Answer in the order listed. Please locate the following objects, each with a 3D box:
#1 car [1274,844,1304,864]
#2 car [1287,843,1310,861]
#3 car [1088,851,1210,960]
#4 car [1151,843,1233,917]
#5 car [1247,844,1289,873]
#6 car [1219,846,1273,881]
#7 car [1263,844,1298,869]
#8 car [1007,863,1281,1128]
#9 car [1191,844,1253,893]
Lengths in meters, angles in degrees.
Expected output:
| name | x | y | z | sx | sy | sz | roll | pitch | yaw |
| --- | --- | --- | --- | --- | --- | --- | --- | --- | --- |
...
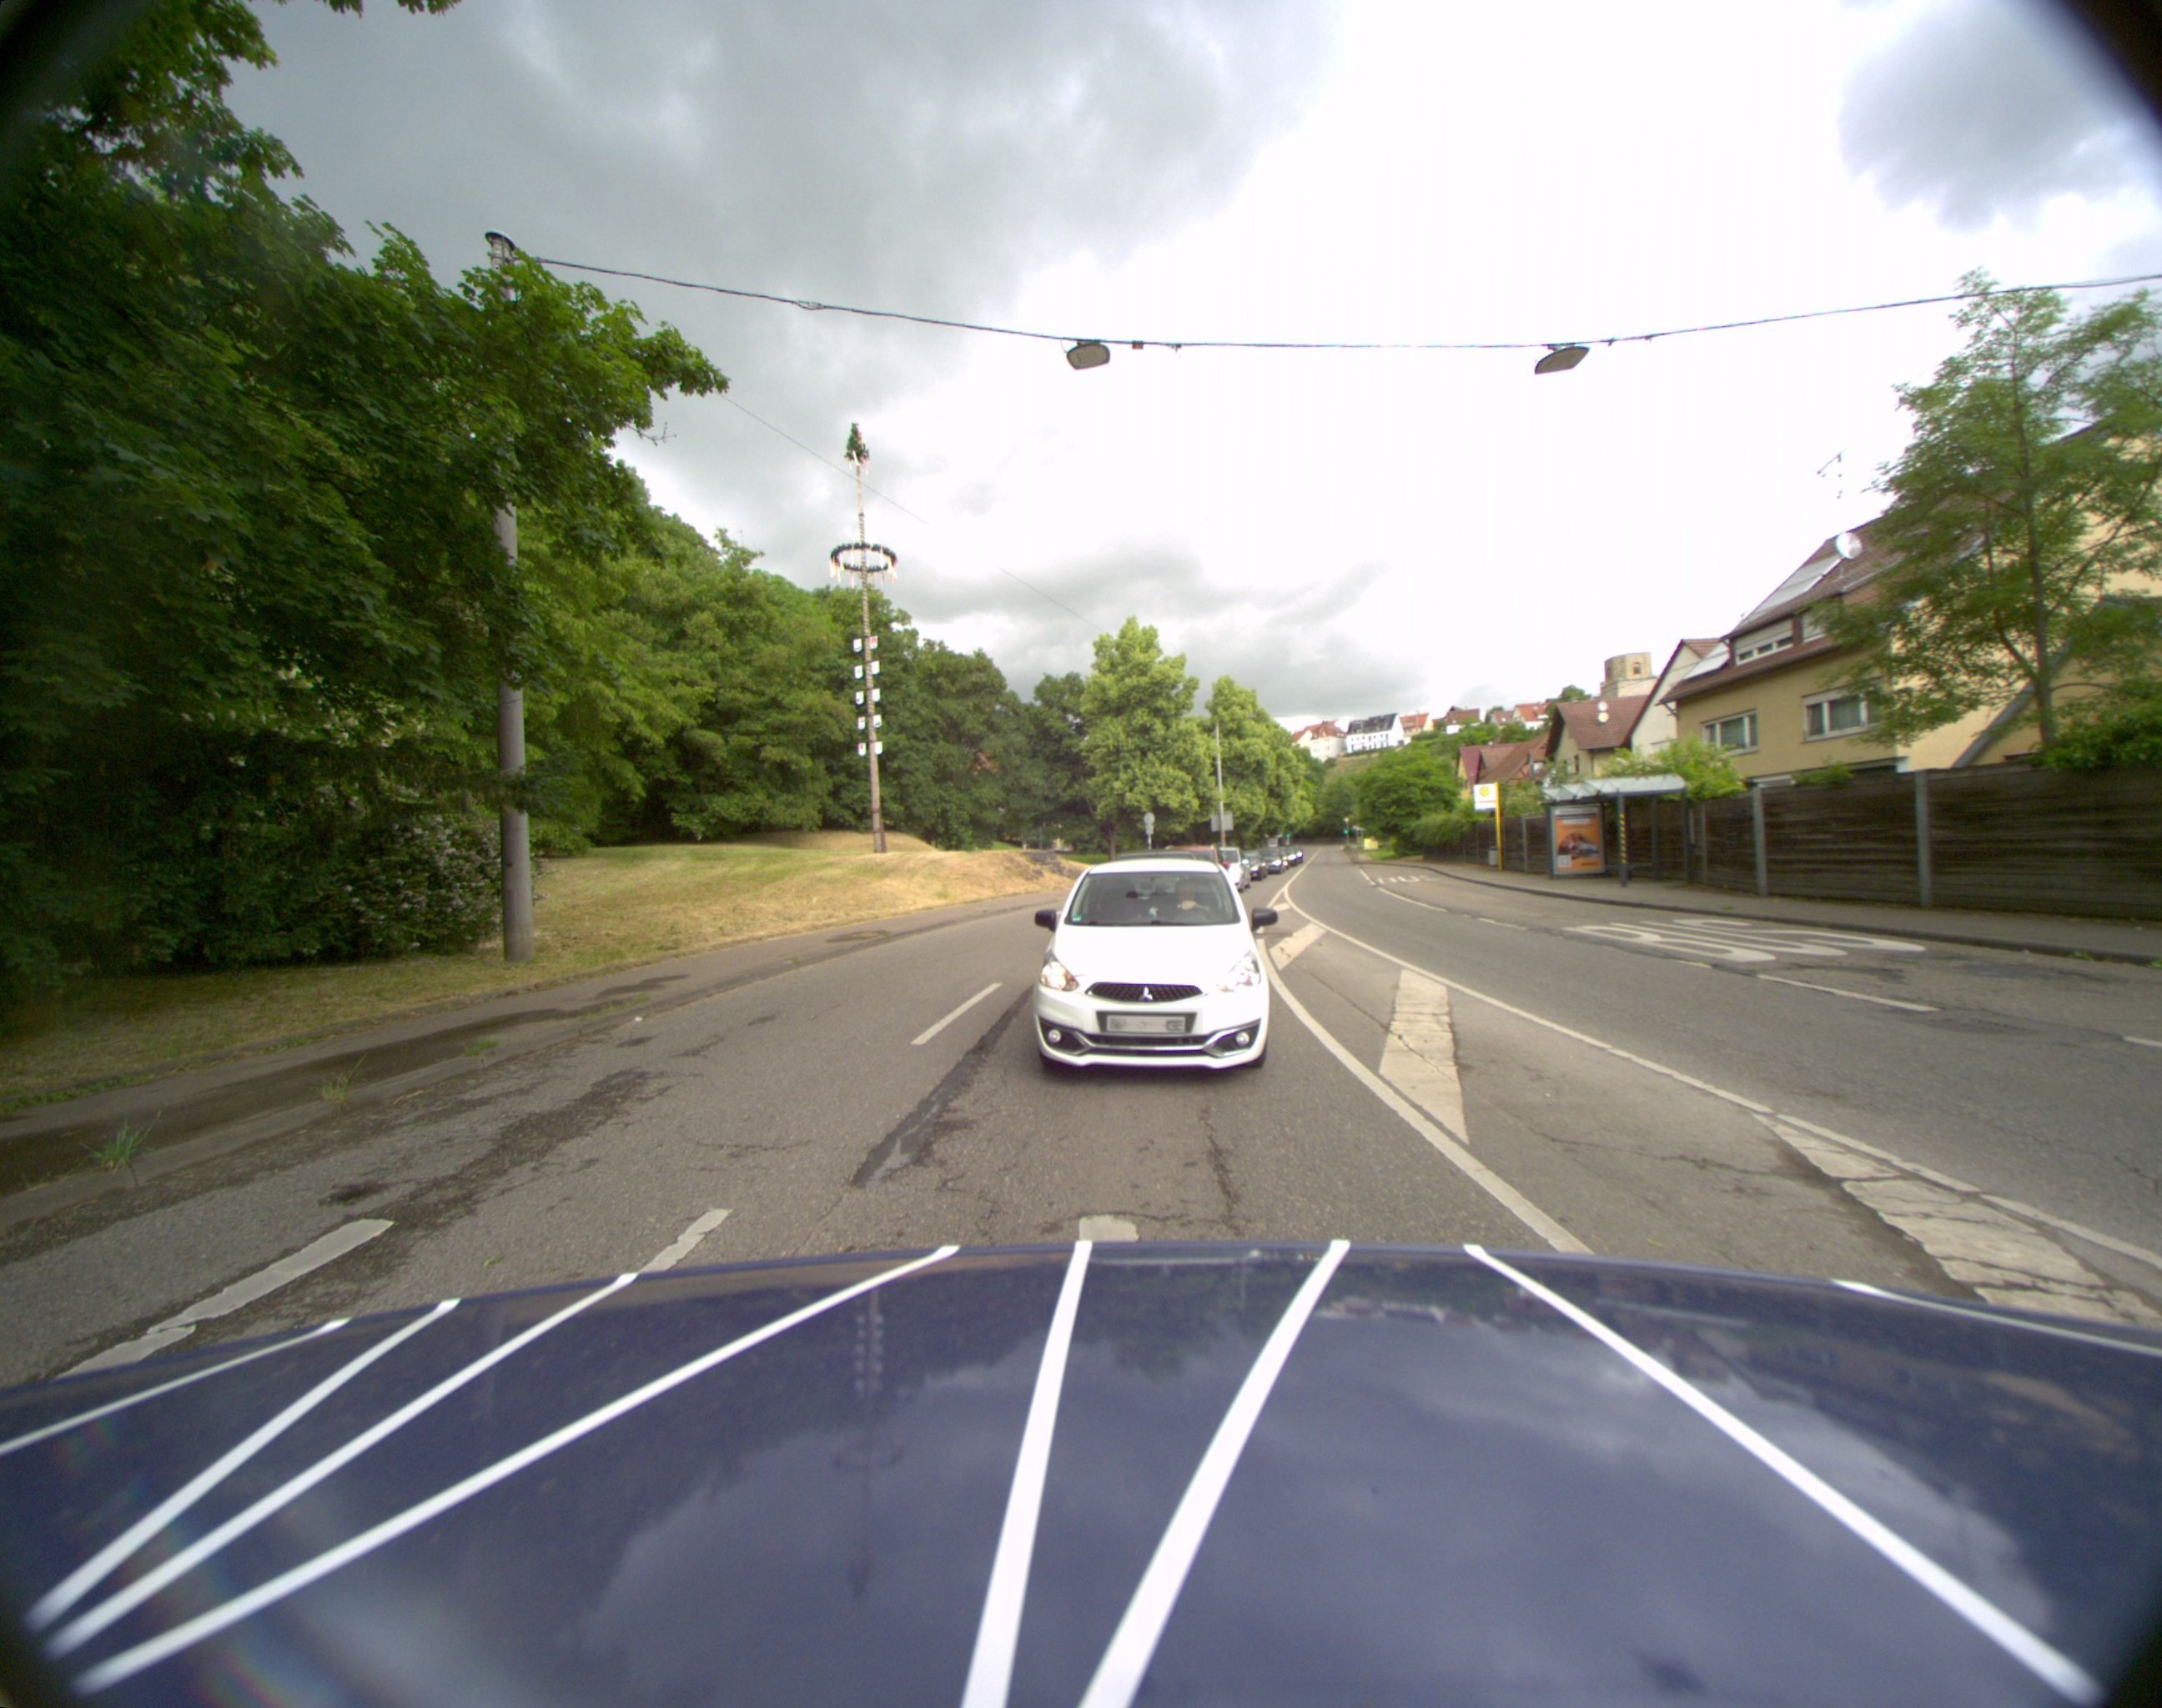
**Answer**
| name | x | y | z | sx | sy | sz | roll | pitch | yaw |
| --- | --- | --- | --- | --- | --- | --- | --- | --- | --- |
| car | 14.628 | 0.008 | 53.400 | 1.642 | 1.262 | 3.630 | -2 | 1 | 21 |
| car | 17.027 | -0.171 | 59.503 | 1.417 | 1.242 | 3.300 | -2 | 1 | 21 |
| car | 1.256 | 0.758 | 13.139 | 1.729 | 1.512 | 4.002 | -2 | 1 | 7 |
| car | 2.938 | 0.578 | 19.463 | 1.673 | 1.632 | 4.104 | -2 | 1 | 13 |
| car | 10.287 | 0.203 | 41.630 | 1.694 | 1.403 | 3.987 | -2 | 1 | 21 |
| car | 7.803 | 0.390 | 35.664 | 1.851 | 1.449 | 4.005 | -2 | 1 | 21 |
| car | 12.651 | 0.108 | 48.069 | 1.704 | 1.438 | 3.872 | -2 | 1 | 21 |
| car | 0.607 | 0.906 | 6.651 | 1.627 | 1.499 | 4.001 | -2 | 1 | 7 |
| car | 5.133 | 0.475 | 27.295 | 1.781 | 1.560 | 4.004 | -2 | 1 | 15 |
